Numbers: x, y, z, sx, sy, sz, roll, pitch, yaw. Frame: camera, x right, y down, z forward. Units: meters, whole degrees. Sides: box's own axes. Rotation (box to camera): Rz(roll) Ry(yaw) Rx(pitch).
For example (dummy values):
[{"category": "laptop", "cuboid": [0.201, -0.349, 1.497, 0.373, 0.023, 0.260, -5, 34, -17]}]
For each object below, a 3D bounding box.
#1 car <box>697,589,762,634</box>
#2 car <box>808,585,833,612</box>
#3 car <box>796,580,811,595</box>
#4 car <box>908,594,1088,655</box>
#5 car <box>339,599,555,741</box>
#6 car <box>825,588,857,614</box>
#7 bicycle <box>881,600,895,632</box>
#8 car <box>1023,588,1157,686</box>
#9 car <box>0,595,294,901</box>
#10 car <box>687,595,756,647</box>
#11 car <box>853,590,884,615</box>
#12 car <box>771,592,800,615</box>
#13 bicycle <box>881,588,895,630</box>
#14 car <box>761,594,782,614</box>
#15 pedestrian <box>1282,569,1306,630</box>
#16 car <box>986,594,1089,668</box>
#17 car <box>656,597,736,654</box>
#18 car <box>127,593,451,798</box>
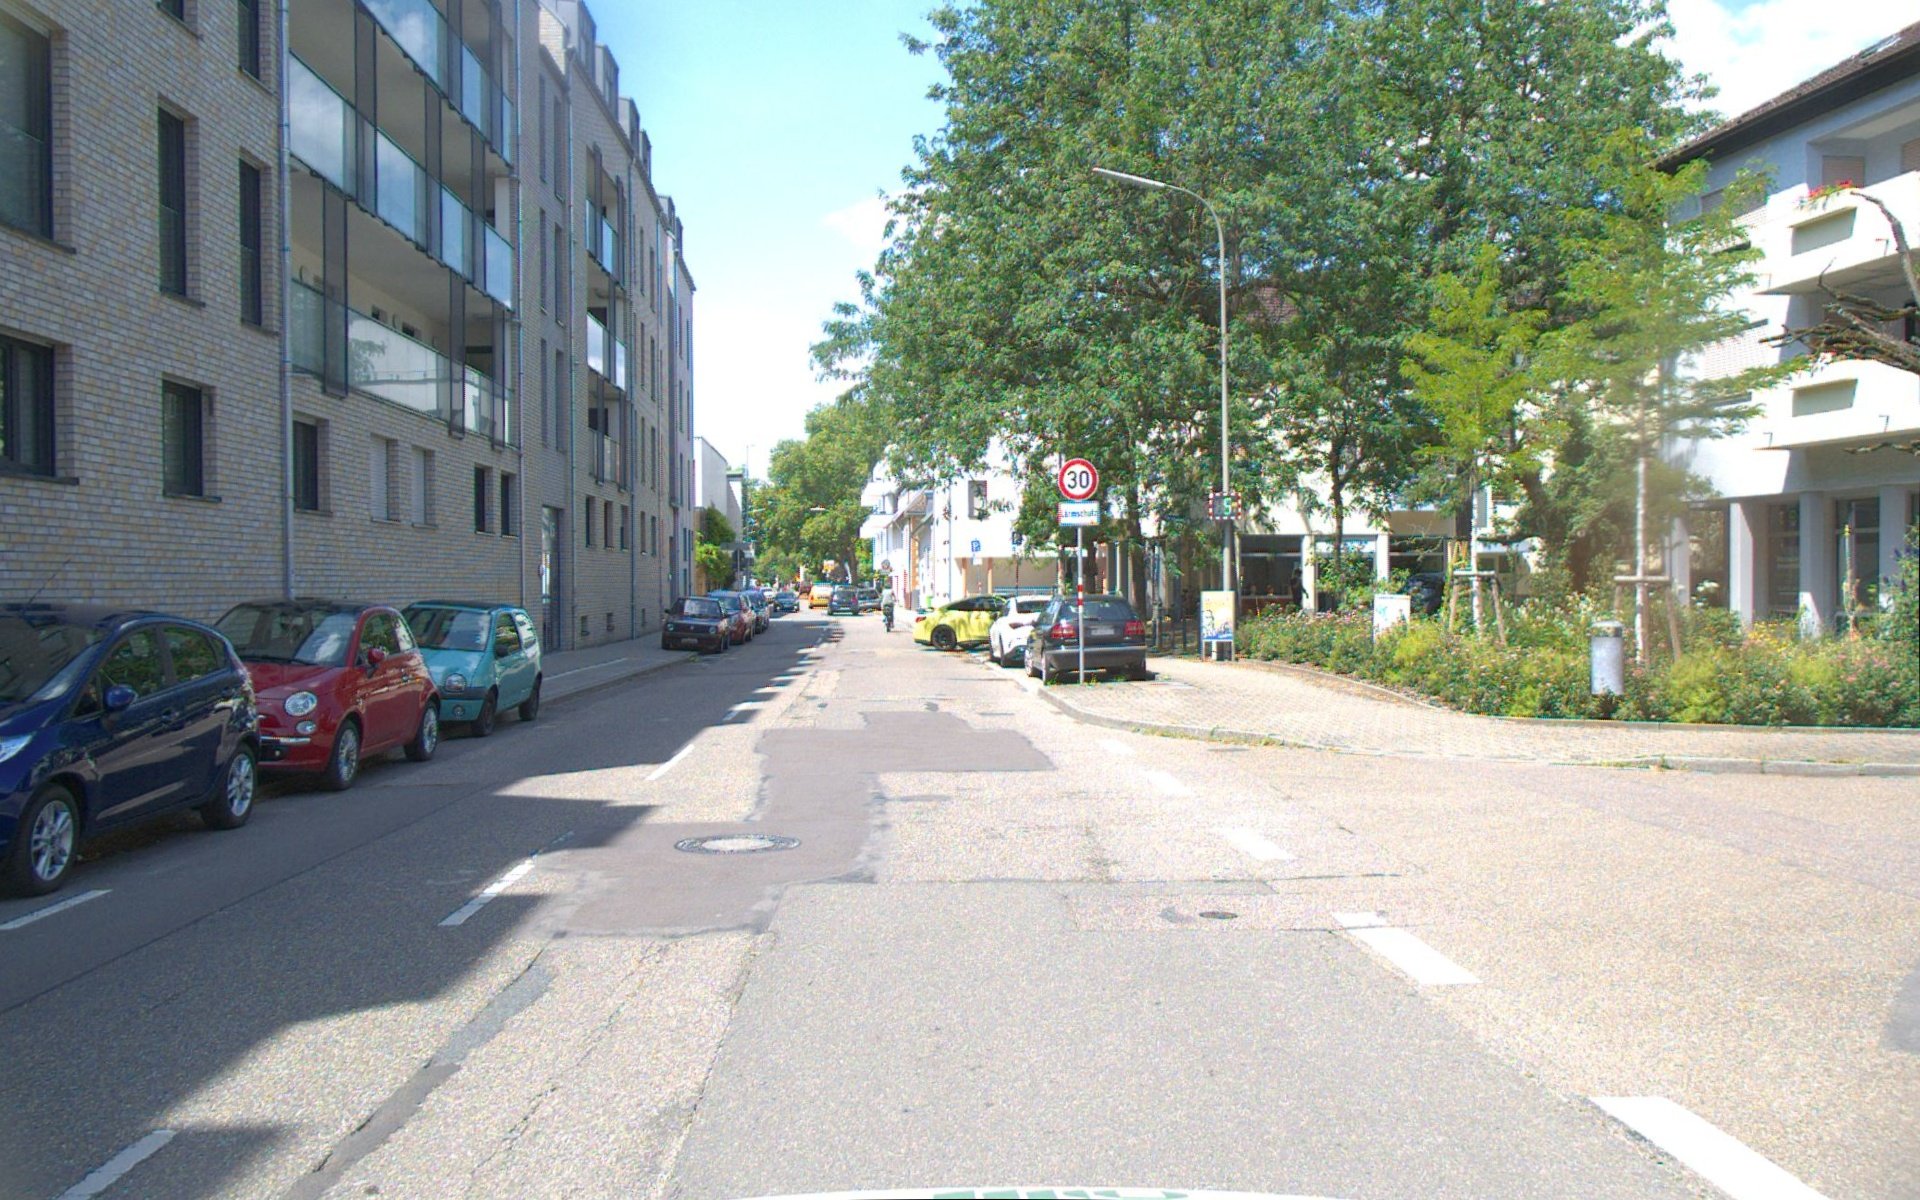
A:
[{"category": "car", "cuboid": [-7.910, 0.371, 57.006, 1.790, 1.445, 3.999, 1, 0, -2]}, {"category": "car", "cuboid": [-10.586, -0.128, 125.650, 1.802, 2.049, 3.997, 0, 1, -4]}, {"category": "car", "cuboid": [-22.292, -1.808, 235.788, 2.115, 2.049, 3.995, -1, 0, -6]}, {"category": "car", "cuboid": [1.001, 0.612, 43.147, 4.286, 1.405, 2.001, 2, 0, 18]}, {"category": "car", "cuboid": [-5.980, 0.757, 19.685, 1.559, 1.481, 3.701, 1, 0, -3]}, {"category": "car", "cuboid": [-6.790, 0.036, 94.880, 1.681, 1.426, 3.999, -1, 1, -2]}, {"category": "bicycle", "cuboid": [-2.642, 0.588, 60.644, 0.473, 1.134, 1.195, 0, 0, -3]}, {"category": "car", "cuboid": [2.124, 0.577, 27.999, 1.659, 1.445, 3.997, -3, 0, -3]}, {"category": "car", "cuboid": [-5.587, 0.721, 9.826, 1.688, 1.481, 4.004, 1, 0, -1]}, {"category": "car", "cuboid": [-7.143, 0.602, 49.867, 1.698, 1.467, 3.998, -1, 0, -3]}, {"category": "car", "cuboid": [-6.117, 0.180, 110.345, 1.954, 1.646, 3.997, 0, 0, -4]}, {"category": "car", "cuboid": [-12.236, 0.209, 116.066, 1.954, 1.545, 3.996, -1, 1, -5]}, {"category": "bicycle", "cuboid": [-2.648, 0.334, 60.672, 0.468, 1.516, 0.576, 0, 0, -4]}, {"category": "car", "cuboid": [-19.743, 0.377, 173.345, 1.954, 2.049, 3.997, -1, 0, -4]}, {"category": "pedestrian", "cuboid": [10.470, -0.011, 51.799, 0.583, 1.891, 0.603, -1, 0, 27]}, {"category": "car", "cuboid": [1.566, 0.612, 34.633, 1.743, 1.445, 3.997, -1, 0, -3]}, {"category": "car", "cuboid": [-7.107, 0.657, 44.854, 1.698, 1.467, 3.998, -1, 0, -3]}, {"category": "car", "cuboid": [-5.738, 0.731, 14.588, 1.559, 1.581, 3.569, 0, 0, -3]}]
